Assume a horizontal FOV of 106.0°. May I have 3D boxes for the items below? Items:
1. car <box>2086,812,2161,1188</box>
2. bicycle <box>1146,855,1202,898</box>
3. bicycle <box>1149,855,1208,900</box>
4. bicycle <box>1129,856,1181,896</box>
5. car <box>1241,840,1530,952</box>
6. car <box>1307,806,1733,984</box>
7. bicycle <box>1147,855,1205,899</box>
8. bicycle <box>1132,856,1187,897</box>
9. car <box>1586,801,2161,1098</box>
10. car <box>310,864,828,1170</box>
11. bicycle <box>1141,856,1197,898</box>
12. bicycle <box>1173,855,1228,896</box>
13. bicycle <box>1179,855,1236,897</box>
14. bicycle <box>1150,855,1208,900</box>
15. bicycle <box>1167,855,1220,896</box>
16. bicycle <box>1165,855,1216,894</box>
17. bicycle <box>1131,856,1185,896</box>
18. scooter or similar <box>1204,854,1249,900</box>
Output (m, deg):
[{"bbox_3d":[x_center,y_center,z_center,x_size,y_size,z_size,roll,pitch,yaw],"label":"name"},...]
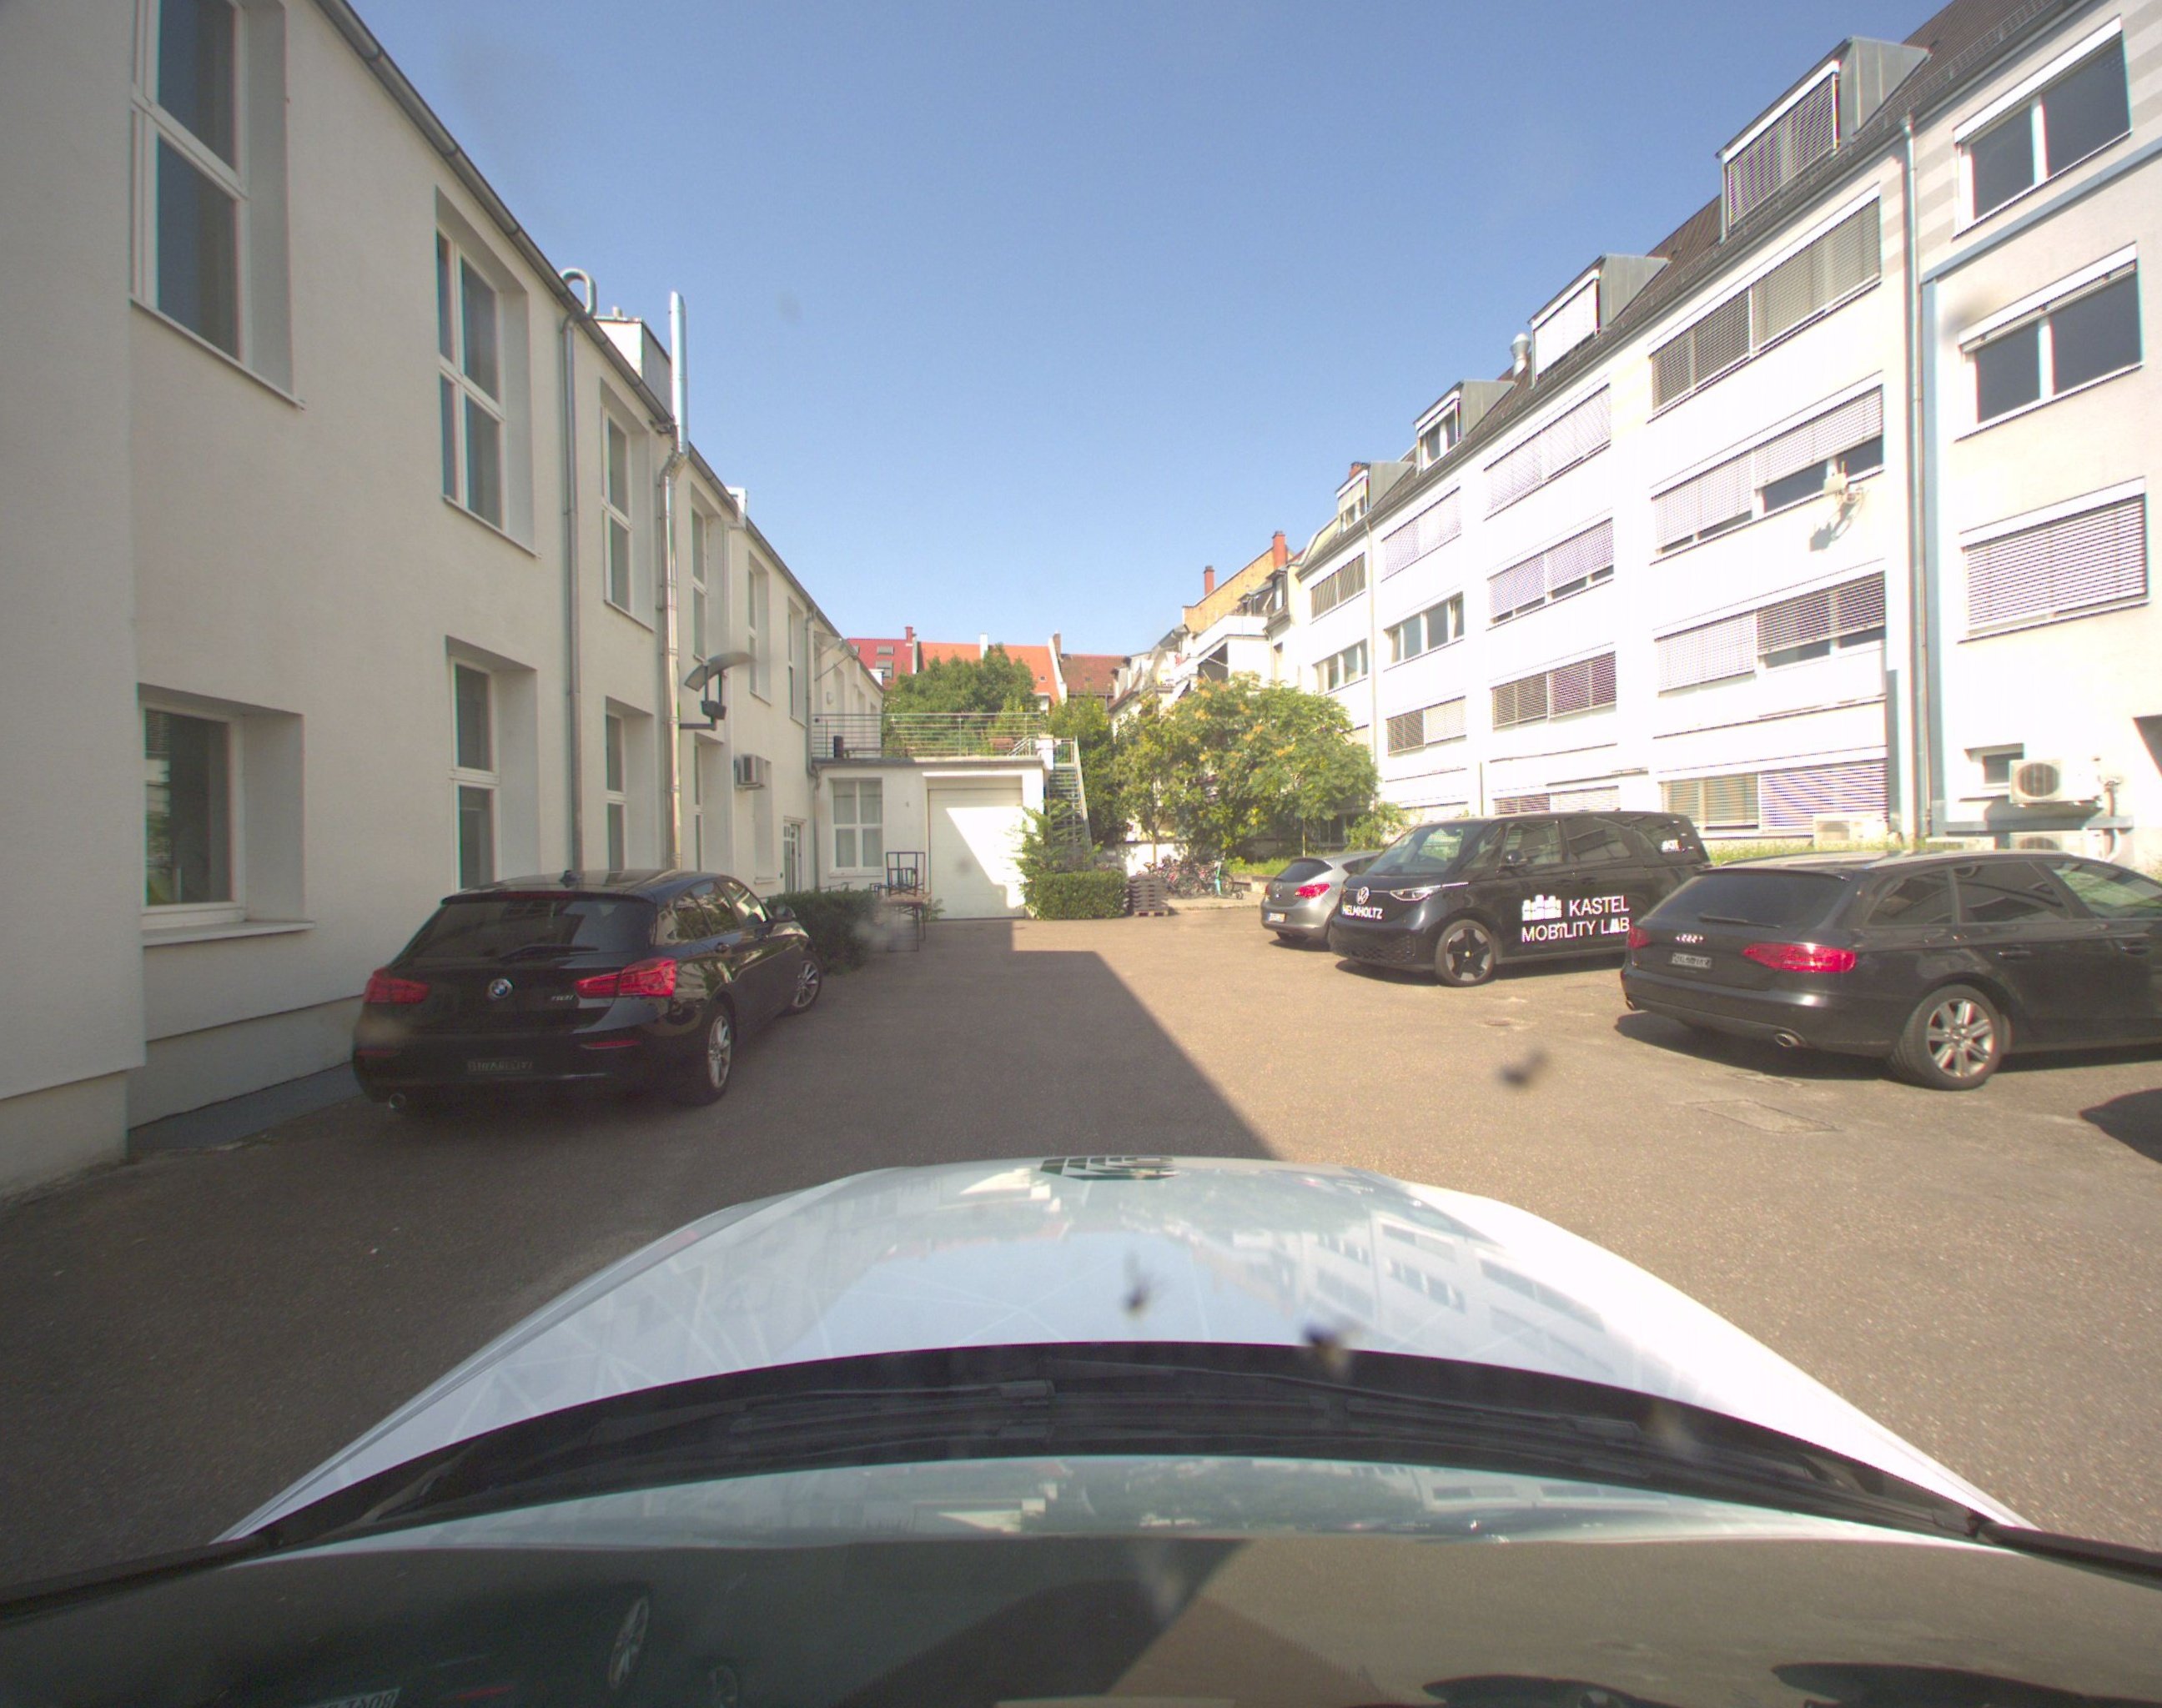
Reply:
[{"bbox_3d":[6.585,0.580,3.083,3.862,1.589,1.873,-1,-1,-10],"label":"car"},{"bbox_3d":[2.791,0.682,24.446,1.615,1.214,0.327,-2,0,4],"label":"bicycle"},{"bbox_3d":[2.805,0.673,23.378,1.620,1.214,0.326,-2,0,-4],"label":"bicycle"},{"bbox_3d":[2.420,0.707,26.695,1.623,1.214,0.422,-2,0,-10],"label":"bicycle"},{"bbox_3d":[4.738,0.605,12.842,3.938,1.482,1.766,-2,-1,-14],"label":"car"},{"bbox_3d":[5.300,0.412,10.004,4.507,1.794,1.874,-2,-1,-14],"label":"car"},{"bbox_3d":[2.792,0.678,23.994,1.620,1.214,0.326,-2,0,-4],"label":"bicycle"},{"bbox_3d":[2.441,0.697,25.457,1.621,1.214,0.423,-2,0,-6],"label":"bicycle"},{"bbox_3d":[6.162,0.531,5.870,4.114,1.691,1.766,-1,-1,-8],"label":"car"},{"bbox_3d":[-3.153,0.821,6.044,1.686,1.459,3.914,-1,0,-6],"label":"car"},{"bbox_3d":[2.683,0.686,24.801,1.614,1.214,0.327,-2,0,7],"label":"bicycle"},{"bbox_3d":[3.705,0.673,25.295,1.614,1.214,0.425,-2,0,8],"label":"bicycle"},{"bbox_3d":[3.797,0.664,24.441,1.613,1.214,0.328,-2,0,9],"label":"bicycle"},{"bbox_3d":[2.845,0.675,23.704,1.620,1.214,0.326,-2,0,-4],"label":"bicycle"},{"bbox_3d":[3.560,0.680,25.859,1.614,1.214,0.425,-2,0,7],"label":"bicycle"},{"bbox_3d":[3.618,0.687,26.894,1.614,1.214,0.425,-2,0,7],"label":"bicycle"},{"bbox_3d":[2.473,0.701,26.096,1.623,1.214,0.422,-2,0,-11],"label":"bicycle"},{"bbox_3d":[4.149,0.654,23.260,0.381,1.261,1.334,-2,0,-37],"label":"scooter or similar"}]
